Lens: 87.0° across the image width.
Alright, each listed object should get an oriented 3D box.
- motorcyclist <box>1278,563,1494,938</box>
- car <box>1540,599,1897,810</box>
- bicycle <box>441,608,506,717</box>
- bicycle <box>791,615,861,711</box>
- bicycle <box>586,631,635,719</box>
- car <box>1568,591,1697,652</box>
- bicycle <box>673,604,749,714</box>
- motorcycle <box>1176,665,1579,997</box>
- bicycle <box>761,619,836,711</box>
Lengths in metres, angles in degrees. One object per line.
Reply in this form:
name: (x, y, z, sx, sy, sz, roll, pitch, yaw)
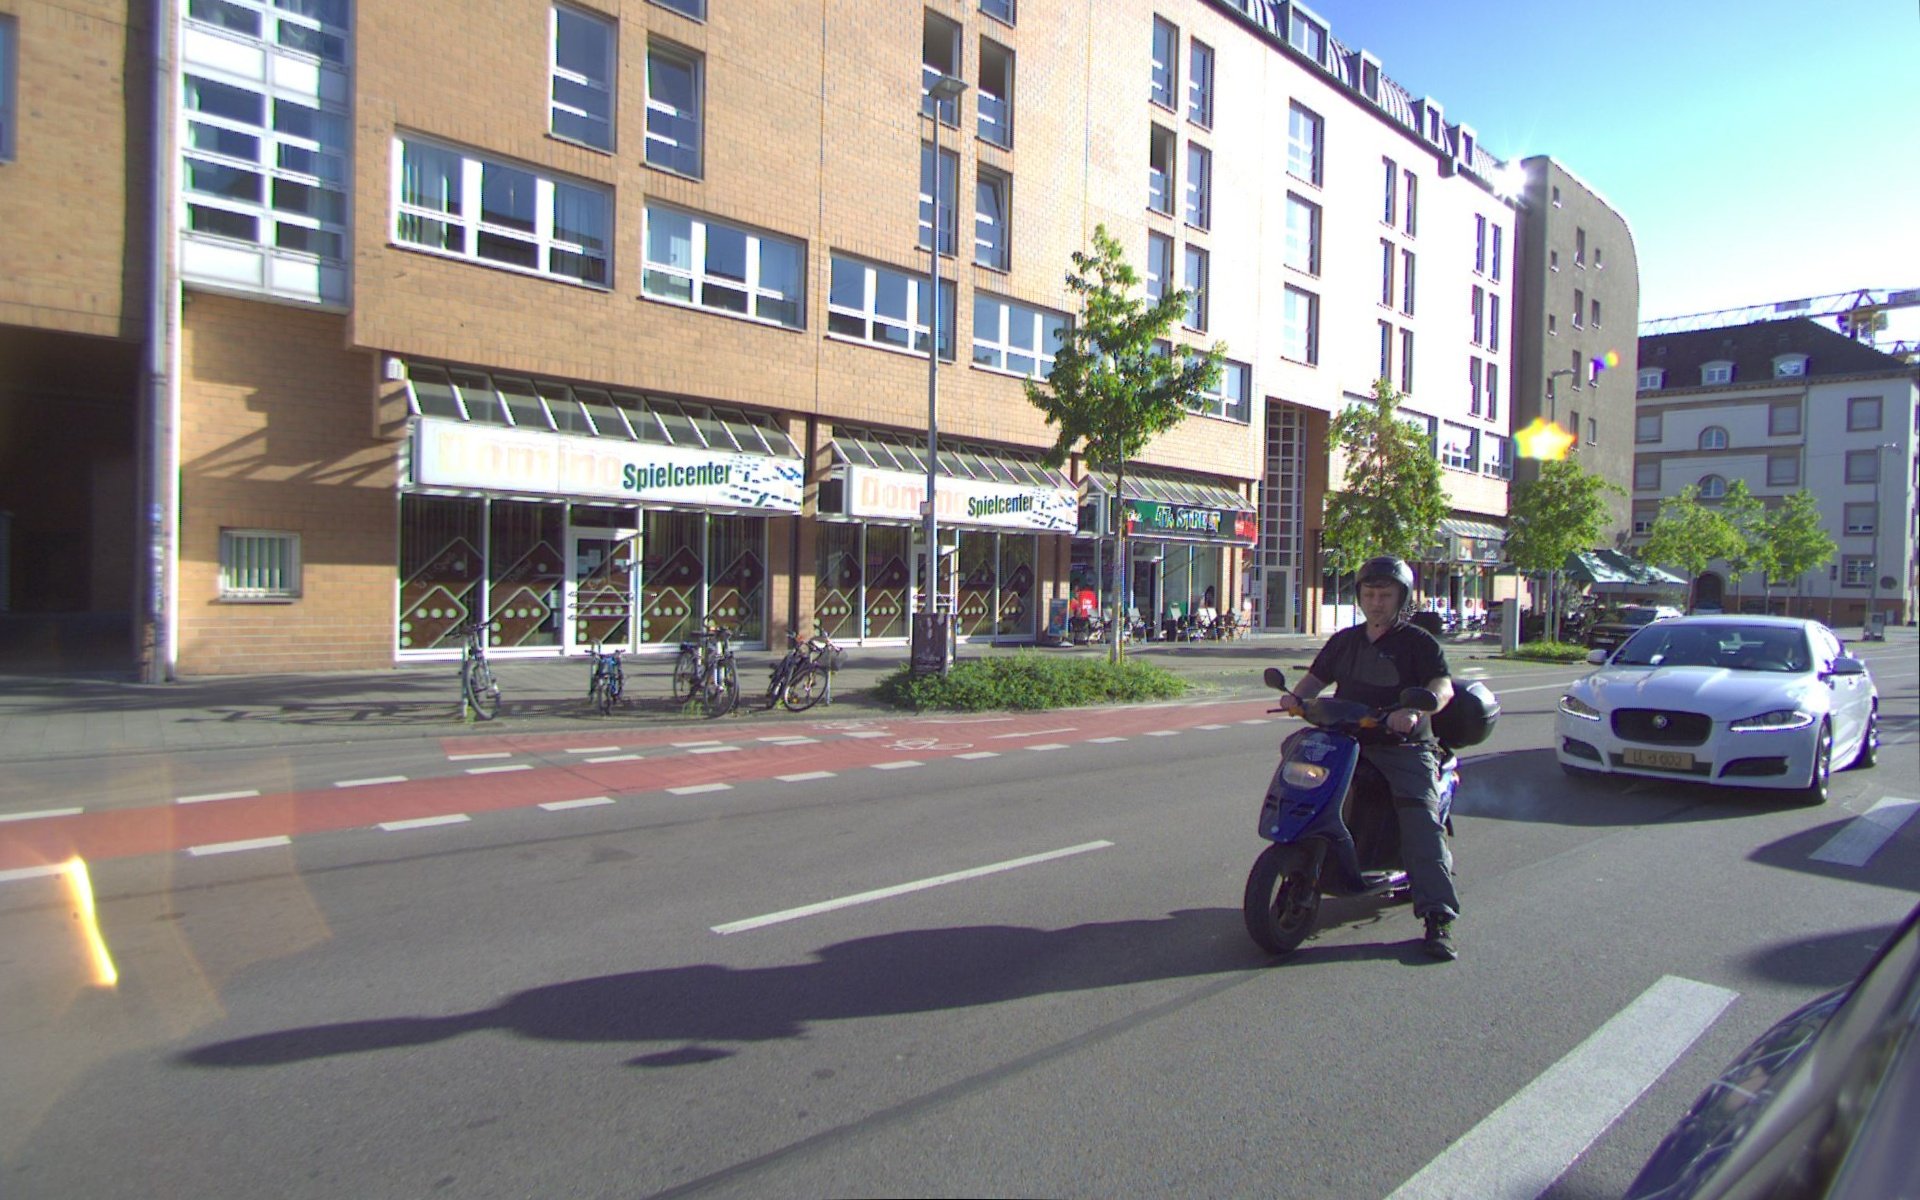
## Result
motorcyclist: (2.007, 0.639, 4.800, 0.520, 1.600, 0.797, 0, 0, -41)
car: (7.118, 0.747, 9.310, 4.376, 1.448, 1.806, 0, 1, -42)
bicycle: (-5.788, 0.695, 11.987, 0.423, 1.089, 1.776, 0, 3, -35)
bicycle: (-1.826, 0.800, 13.606, 0.343, 1.069, 1.843, 0, 3, -26)
bicycle: (-4.331, 0.887, 12.485, 0.359, 0.842, 1.779, 0, 3, -26)
car: (20.667, 0.634, 31.077, 3.921, 1.660, 1.782, 1, 3, -33)
bicycle: (-3.194, 0.704, 12.875, 0.553, 1.177, 1.843, 0, 3, -26)
motorcycle: (2.081, 0.926, 4.827, 2.334, 1.064, 0.805, -1, 0, -41)
bicycle: (-2.168, 0.820, 13.409, 0.440, 0.997, 1.843, 0, 3, -26)
